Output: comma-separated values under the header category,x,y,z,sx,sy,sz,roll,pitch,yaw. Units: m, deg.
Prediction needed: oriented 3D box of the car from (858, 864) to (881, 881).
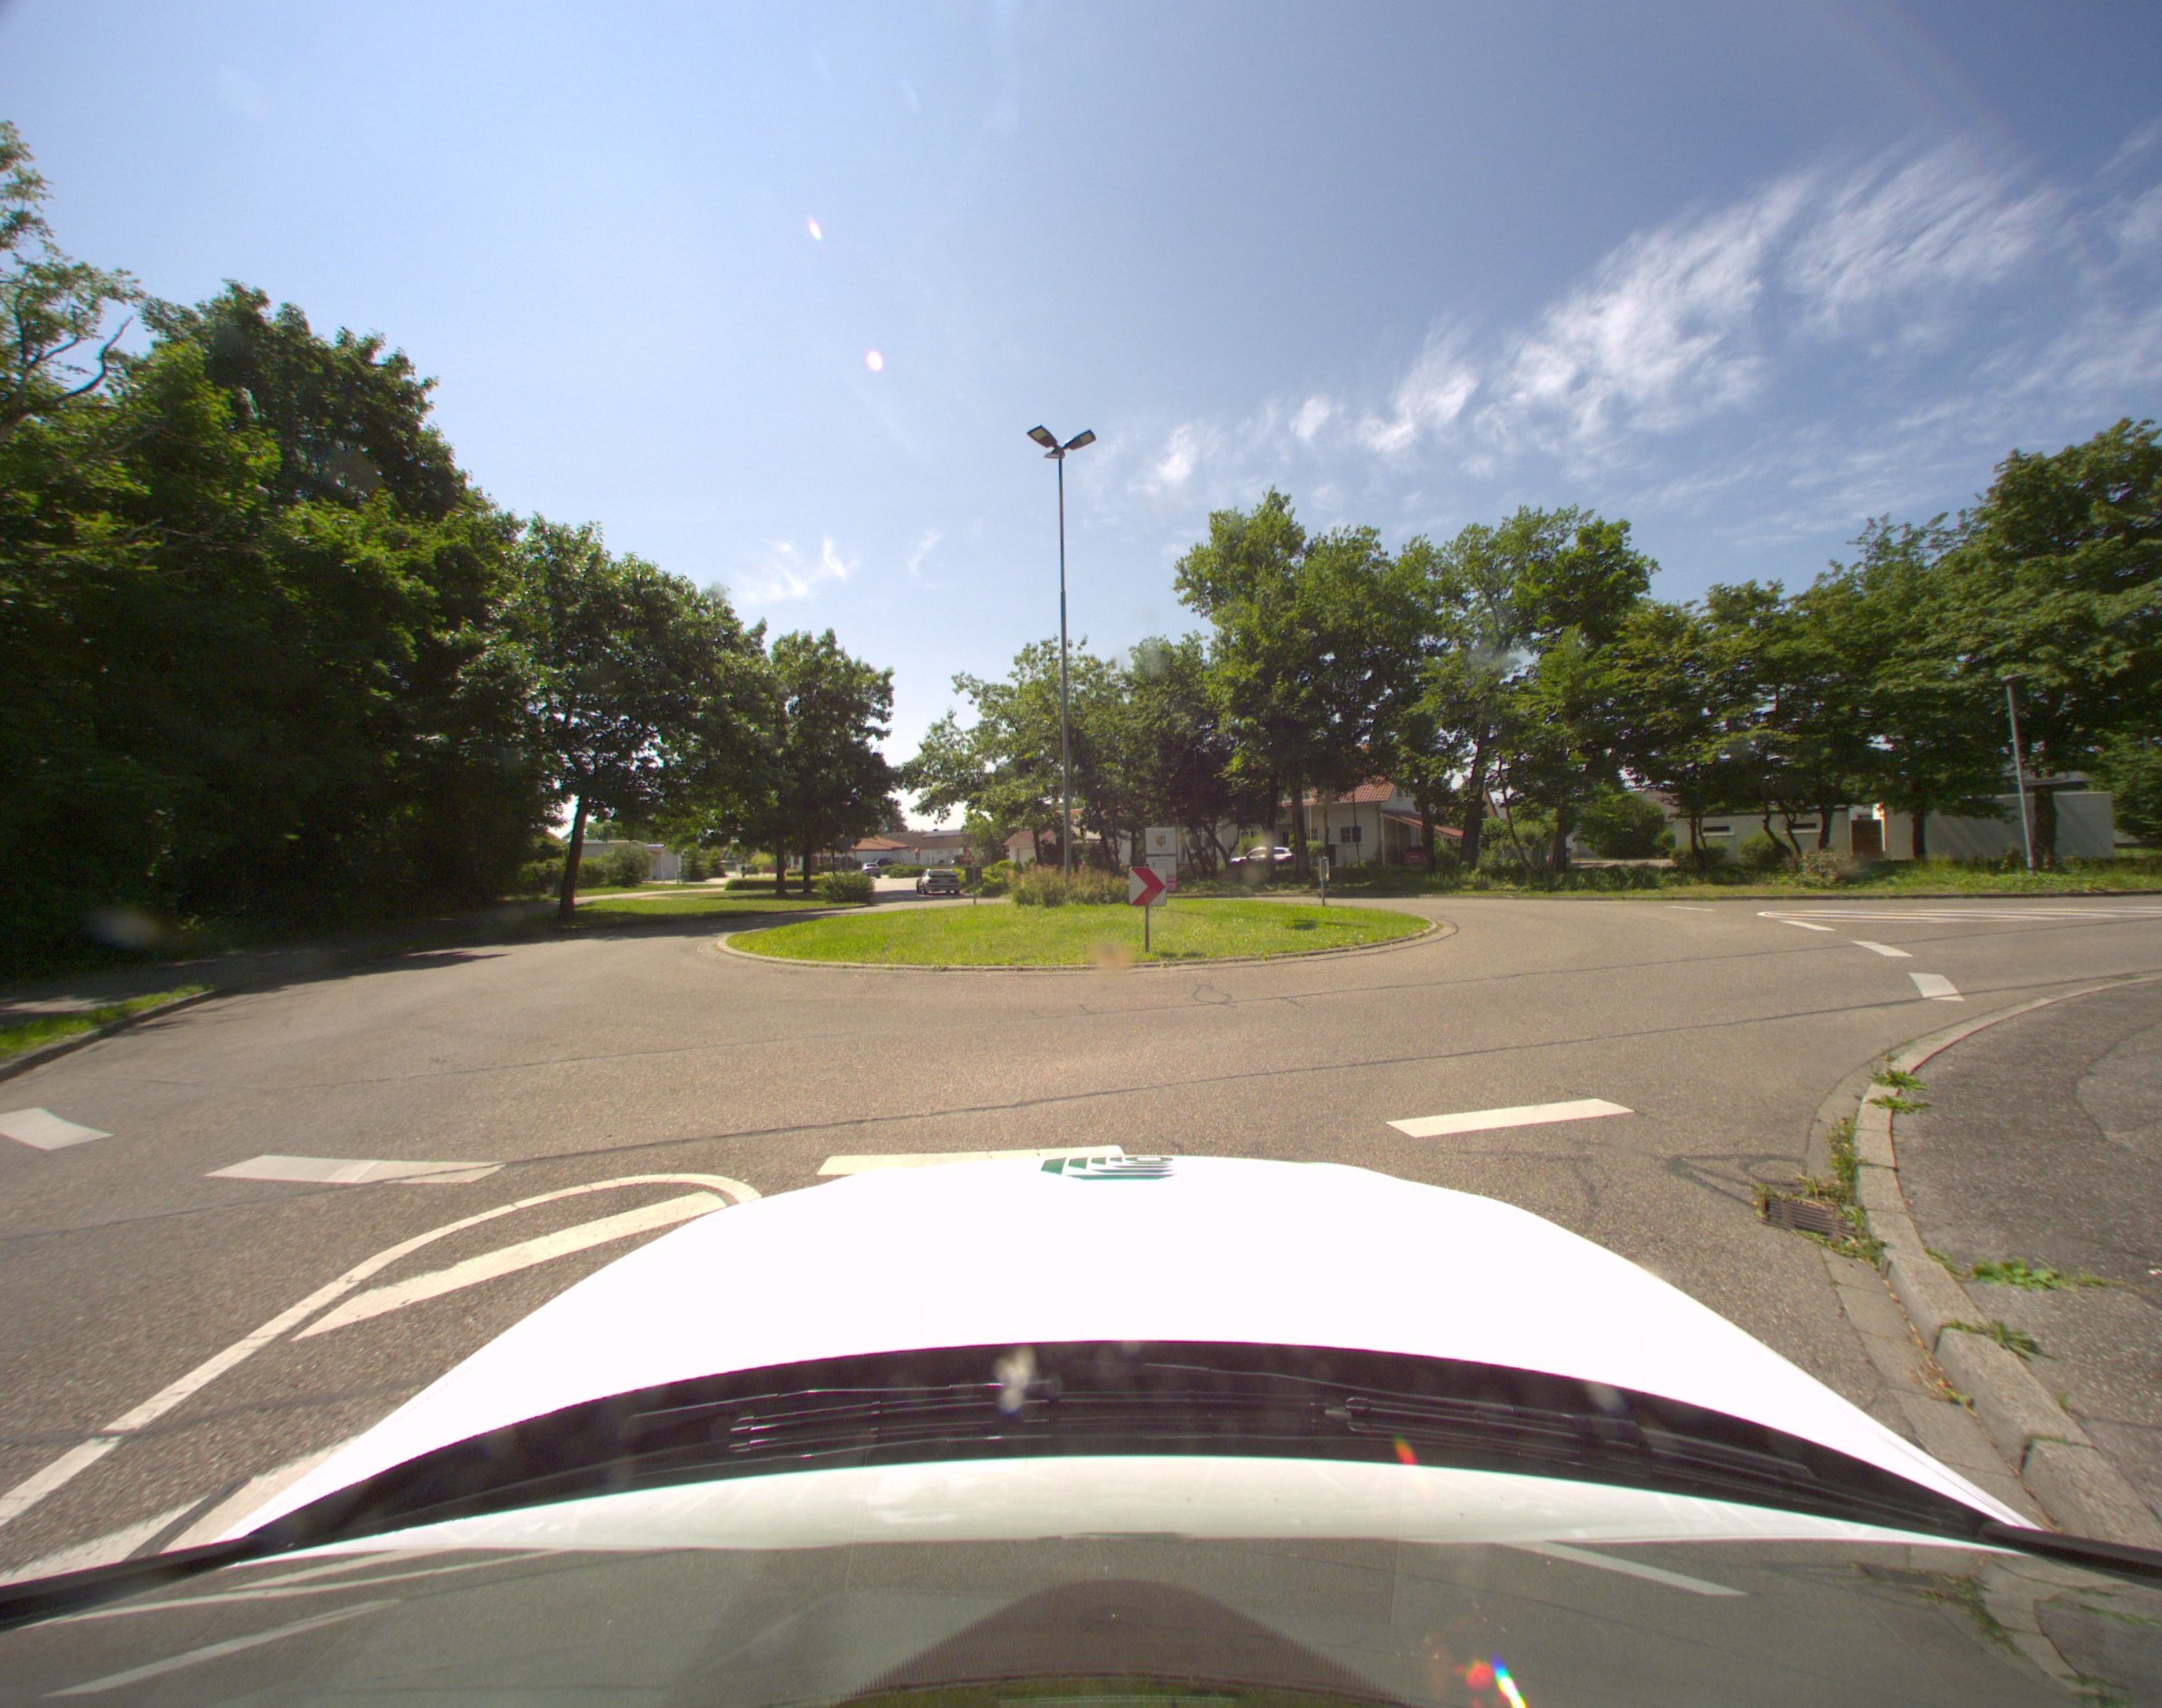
category,x,y,z,sx,sy,sz,roll,pitch,yaw
car,-20.012,1.713,76.965,1.634,1.486,3.973,-2,0,-20

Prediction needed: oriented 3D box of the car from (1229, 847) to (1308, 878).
category,x,y,z,sx,sy,sz,roll,pitch,yaw
car,10.870,0.488,47.315,4.089,1.705,1.677,-2,-1,36

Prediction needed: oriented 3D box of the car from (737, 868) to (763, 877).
category,x,y,z,sx,sy,sz,roll,pitch,yaw
car,-49.612,2.801,122.108,3.948,1.288,2.013,-2,-1,40

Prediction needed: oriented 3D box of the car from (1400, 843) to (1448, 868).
category,x,y,z,sx,sy,sz,roll,pitch,yaw
car,20.803,0.103,49.329,1.663,1.385,3.717,-2,0,40

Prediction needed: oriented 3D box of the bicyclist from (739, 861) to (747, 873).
category,x,y,z,sx,sy,sz,roll,pitch,yaw
bicyclist,-32.713,1.270,78.840,0.599,1.164,0.644,-2,0,-21

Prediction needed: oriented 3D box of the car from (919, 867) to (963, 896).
category,x,y,z,sx,sy,sz,roll,pitch,yaw
car,-6.916,1.328,40.096,1.619,1.288,3.534,-1,-1,-18

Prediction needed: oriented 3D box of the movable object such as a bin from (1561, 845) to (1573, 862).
category,x,y,z,sx,sy,sz,roll,pitch,yaw
movable object such as a bin,33.338,-0.025,55.848,0.650,1.112,0.460,-2,0,36

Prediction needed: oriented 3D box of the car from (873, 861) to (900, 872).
category,x,y,z,sx,sy,sz,roll,pitch,yaw
car,-29.167,1.877,121.997,1.831,1.542,3.859,-2,-1,27

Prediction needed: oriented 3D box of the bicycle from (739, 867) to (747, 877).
category,x,y,z,sx,sy,sz,roll,pitch,yaw
bicycle,-32.676,1.727,78.787,0.599,0.929,1.609,-2,0,-21
